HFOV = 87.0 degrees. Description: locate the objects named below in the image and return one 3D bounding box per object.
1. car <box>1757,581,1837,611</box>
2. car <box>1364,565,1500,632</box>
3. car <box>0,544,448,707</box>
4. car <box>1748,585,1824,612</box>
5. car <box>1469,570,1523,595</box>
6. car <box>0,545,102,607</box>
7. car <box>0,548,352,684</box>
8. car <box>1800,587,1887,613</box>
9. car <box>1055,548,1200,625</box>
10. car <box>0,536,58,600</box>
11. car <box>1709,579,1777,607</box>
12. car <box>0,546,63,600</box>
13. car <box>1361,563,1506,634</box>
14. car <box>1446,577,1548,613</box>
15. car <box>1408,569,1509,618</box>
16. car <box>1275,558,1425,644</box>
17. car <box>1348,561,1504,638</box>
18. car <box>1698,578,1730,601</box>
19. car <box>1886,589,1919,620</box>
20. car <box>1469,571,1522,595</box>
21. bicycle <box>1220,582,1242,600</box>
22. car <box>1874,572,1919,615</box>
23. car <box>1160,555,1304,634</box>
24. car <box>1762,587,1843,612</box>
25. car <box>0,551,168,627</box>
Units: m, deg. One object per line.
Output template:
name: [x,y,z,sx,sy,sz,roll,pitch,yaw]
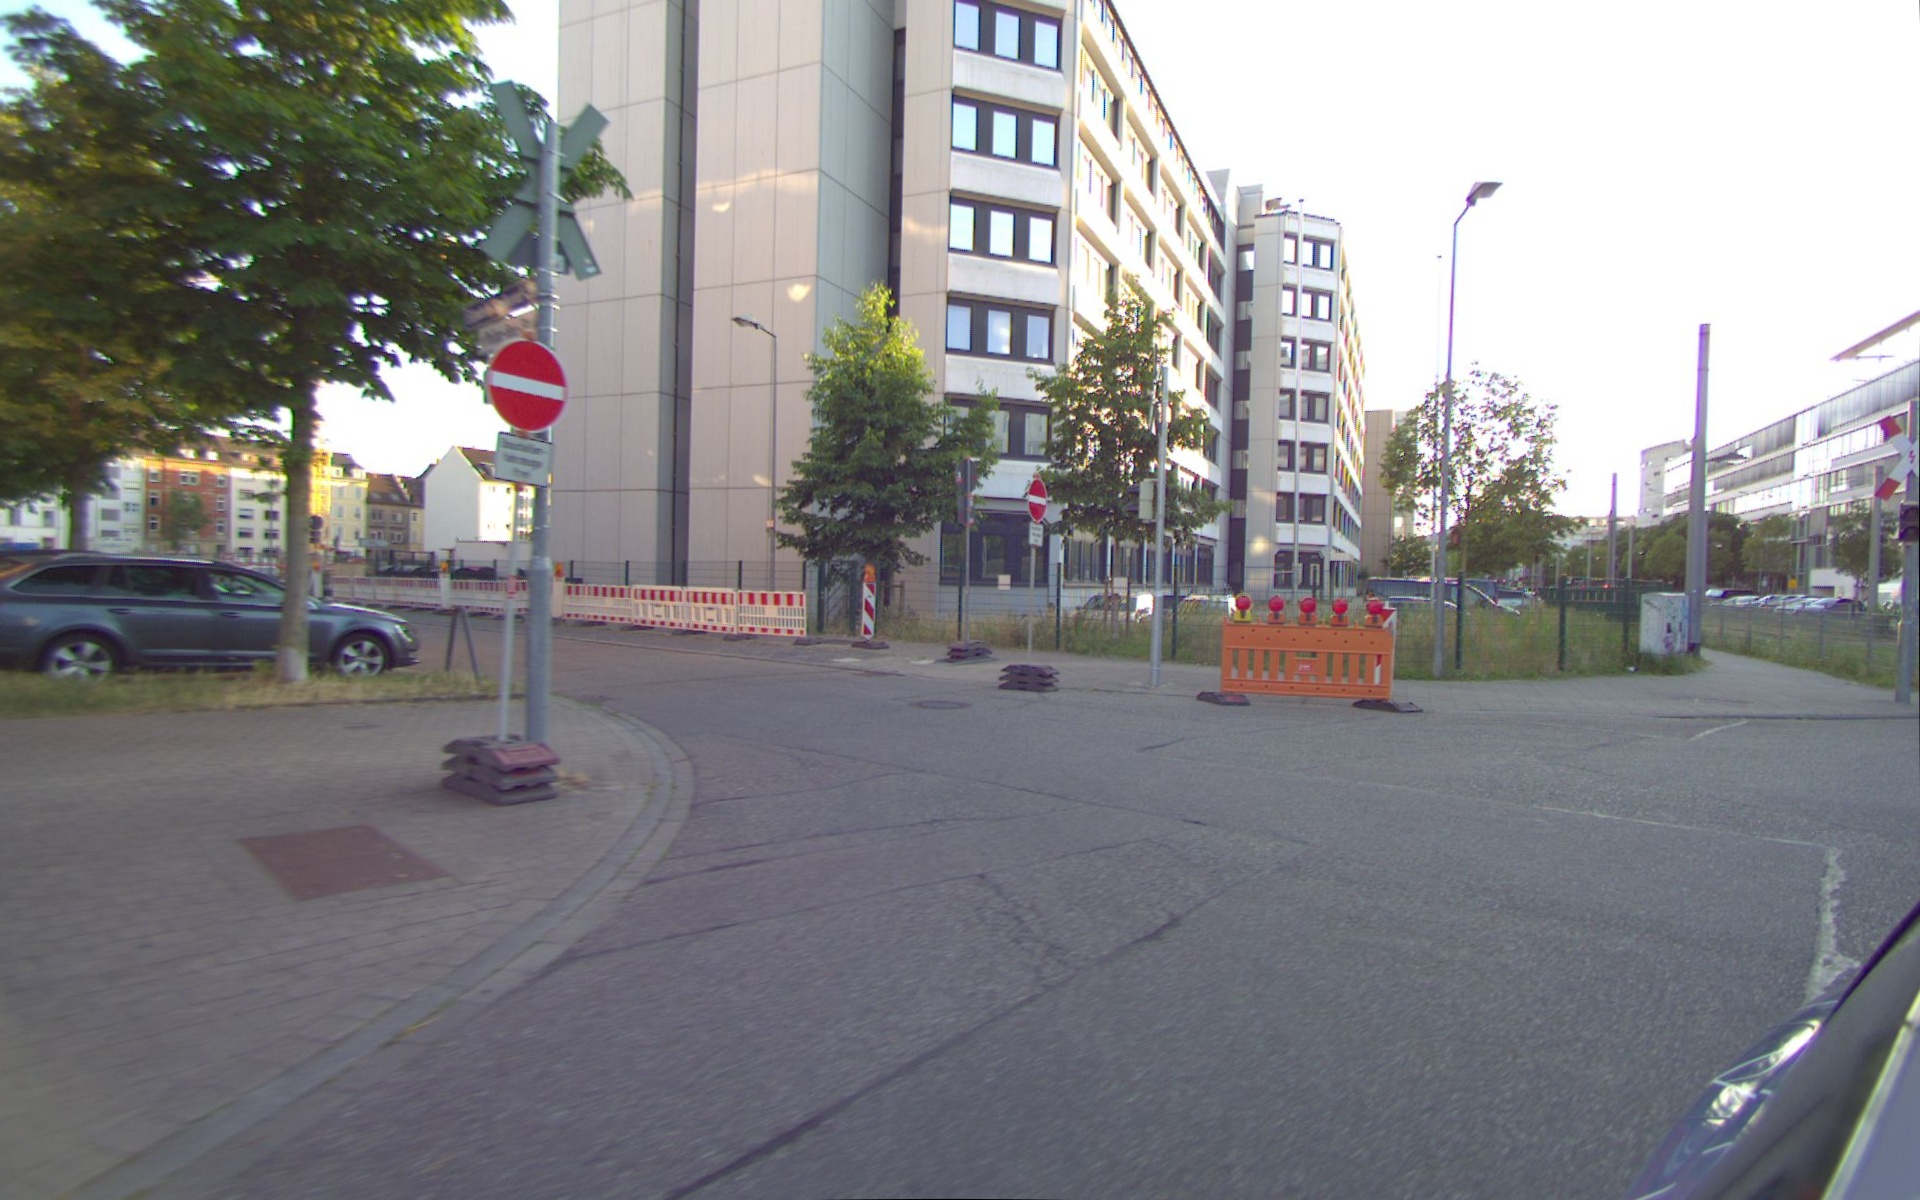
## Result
car: [52.915,-0.229,63.973,3.917,1.778,1.721,1,1,-10]
car: [15.776,-0.090,33.865,3.964,2.038,1.980,2,1,29]
car: [-9.012,0.216,12.142,1.992,1.614,4.743,2,1,41]
car: [54.192,-0.131,66.420,3.917,1.664,1.721,1,1,-10]
car: [46.693,-1.522,88.299,3.955,2.038,1.985,2,1,23]
car: [-26.240,-0.667,27.059,1.990,1.614,4.748,3,2,38]
car: [-11.257,0.149,13.788,1.992,1.614,4.743,2,2,41]
car: [50.657,-0.021,58.033,3.916,1.393,1.722,1,1,-13]
car: [4.816,-0.399,28.839,3.930,2.038,1.997,0,2,-41]
car: [-31.572,-1.045,31.673,1.990,2.008,4.748,3,2,38]
car: [59.540,-0.553,76.969,4.086,1.983,1.721,1,1,-10]
car: [-29.956,-0.830,30.051,1.990,1.614,4.748,3,2,38]
car: [14.892,-0.091,31.853,3.964,2.038,1.980,2,1,29]
car: [26.389,-0.268,49.899,4.363,1.612,1.801,2,2,27]
car: [22.311,-0.342,45.419,3.961,2.038,1.982,2,2,27]
car: [10.138,-0.009,26.214,3.930,2.038,1.997,0,2,-41]
car: [13.602,-0.055,29.569,3.964,2.038,1.980,2,1,29]
car: [88.550,-1.222,118.908,1.977,2.617,3.970,2,1,23]
car: [50.283,0.235,53.231,1.619,1.530,3.380,3,2,31]
car: [48.088,-1.496,90.967,3.955,2.038,1.985,2,1,23]
bicycle: [15.117,-0.520,56.359,0.806,0.962,2.197,2,2,24]
car: [67.620,-0.439,72.032,1.986,2.911,6.201,3,2,25]
car: [7.653,-0.176,28.336,3.930,2.038,1.997,0,2,-41]
car: [51.116,-0.035,61.438,3.916,1.393,1.722,1,1,-13]
car: [-21.008,-0.276,22.737,1.990,1.614,4.748,3,2,38]
